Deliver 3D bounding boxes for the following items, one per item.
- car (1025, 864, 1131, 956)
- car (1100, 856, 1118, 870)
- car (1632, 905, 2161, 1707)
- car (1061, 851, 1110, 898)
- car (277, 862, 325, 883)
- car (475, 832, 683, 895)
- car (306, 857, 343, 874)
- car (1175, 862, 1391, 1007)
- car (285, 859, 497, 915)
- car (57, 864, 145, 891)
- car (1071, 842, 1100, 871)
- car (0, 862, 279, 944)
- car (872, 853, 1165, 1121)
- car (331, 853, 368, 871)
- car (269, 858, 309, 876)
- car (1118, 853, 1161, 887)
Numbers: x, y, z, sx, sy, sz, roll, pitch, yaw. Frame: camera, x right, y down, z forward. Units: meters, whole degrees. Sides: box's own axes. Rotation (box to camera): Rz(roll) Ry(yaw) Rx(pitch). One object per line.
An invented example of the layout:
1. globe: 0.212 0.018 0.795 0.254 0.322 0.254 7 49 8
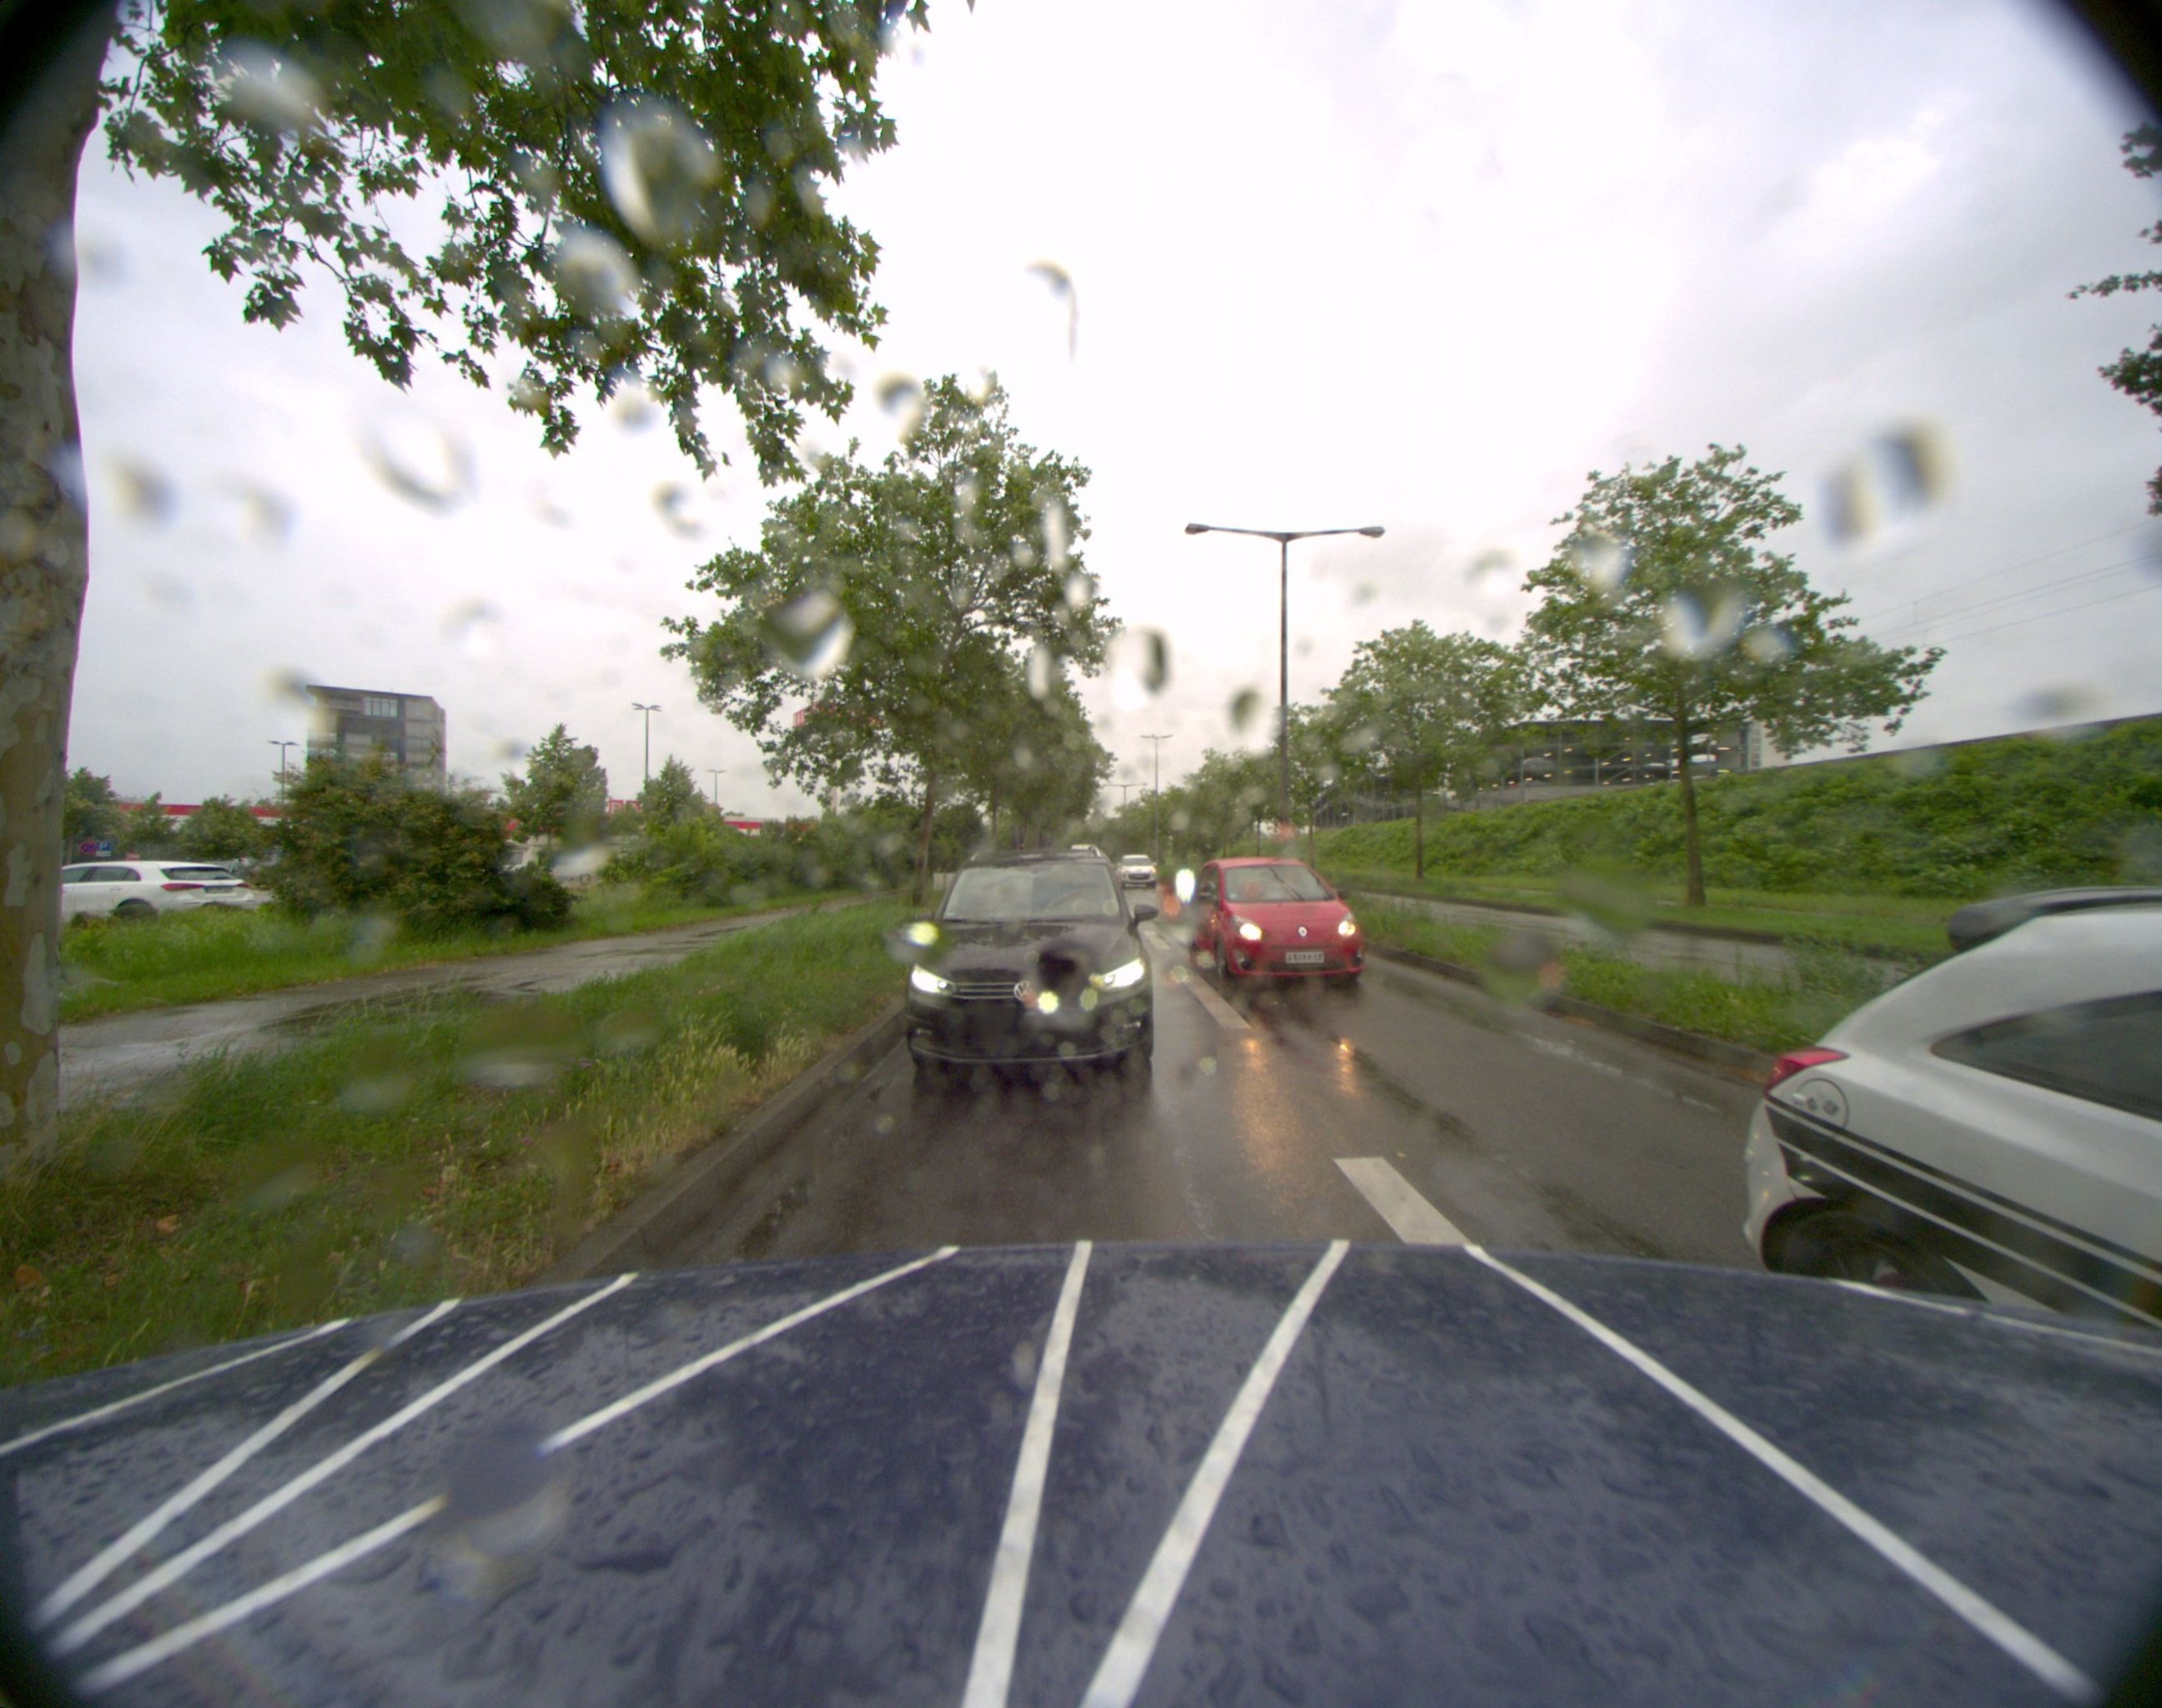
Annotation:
1. car: -0.049 0.971 14.897 1.724 1.456 4.092 -2 0 0
2. car: 3.217 0.975 87.508 1.715 1.494 3.999 -2 0 -2
3. car: 2.725 0.882 0.537 1.683 1.368 4.010 -2 0 -1
4. car: 0.163 0.793 31.554 1.831 1.737 4.147 -2 0 0
5. car: -67.280 1.582 65.606 2.006 1.667 4.262 0 0 -34
6. car: -19.661 0.350 30.084 6.425 2.349 2.390 0 1 -8
7. car: -78.465 1.214 78.867 2.006 1.667 4.262 0 0 -35
8. car: 2.422 0.882 10.180 1.724 1.456 4.092 -2 0 0
9. car: -19.941 0.915 22.134 4.272 1.543 1.929 0 0 -4
10. car: -61.806 1.424 48.011 1.933 1.543 4.263 0 0 -30
11. car: 0.360 0.168 56.371 1.998 2.002 5.132 -2 1 1
12. car: -19.788 0.959 15.664 4.272 1.543 1.929 0 0 -4
13. car: -0.432 0.829 7.073 1.771 1.596 4.626 -2 0 -1
14. car: -68.792 0.728 71.524 2.006 1.667 4.261 0 0 -38
15. car: -80.576 1.314 77.336 2.006 1.667 4.262 0 0 -35
16. car: 3.000 0.802 39.712 1.831 1.602 4.147 -2 0 0
